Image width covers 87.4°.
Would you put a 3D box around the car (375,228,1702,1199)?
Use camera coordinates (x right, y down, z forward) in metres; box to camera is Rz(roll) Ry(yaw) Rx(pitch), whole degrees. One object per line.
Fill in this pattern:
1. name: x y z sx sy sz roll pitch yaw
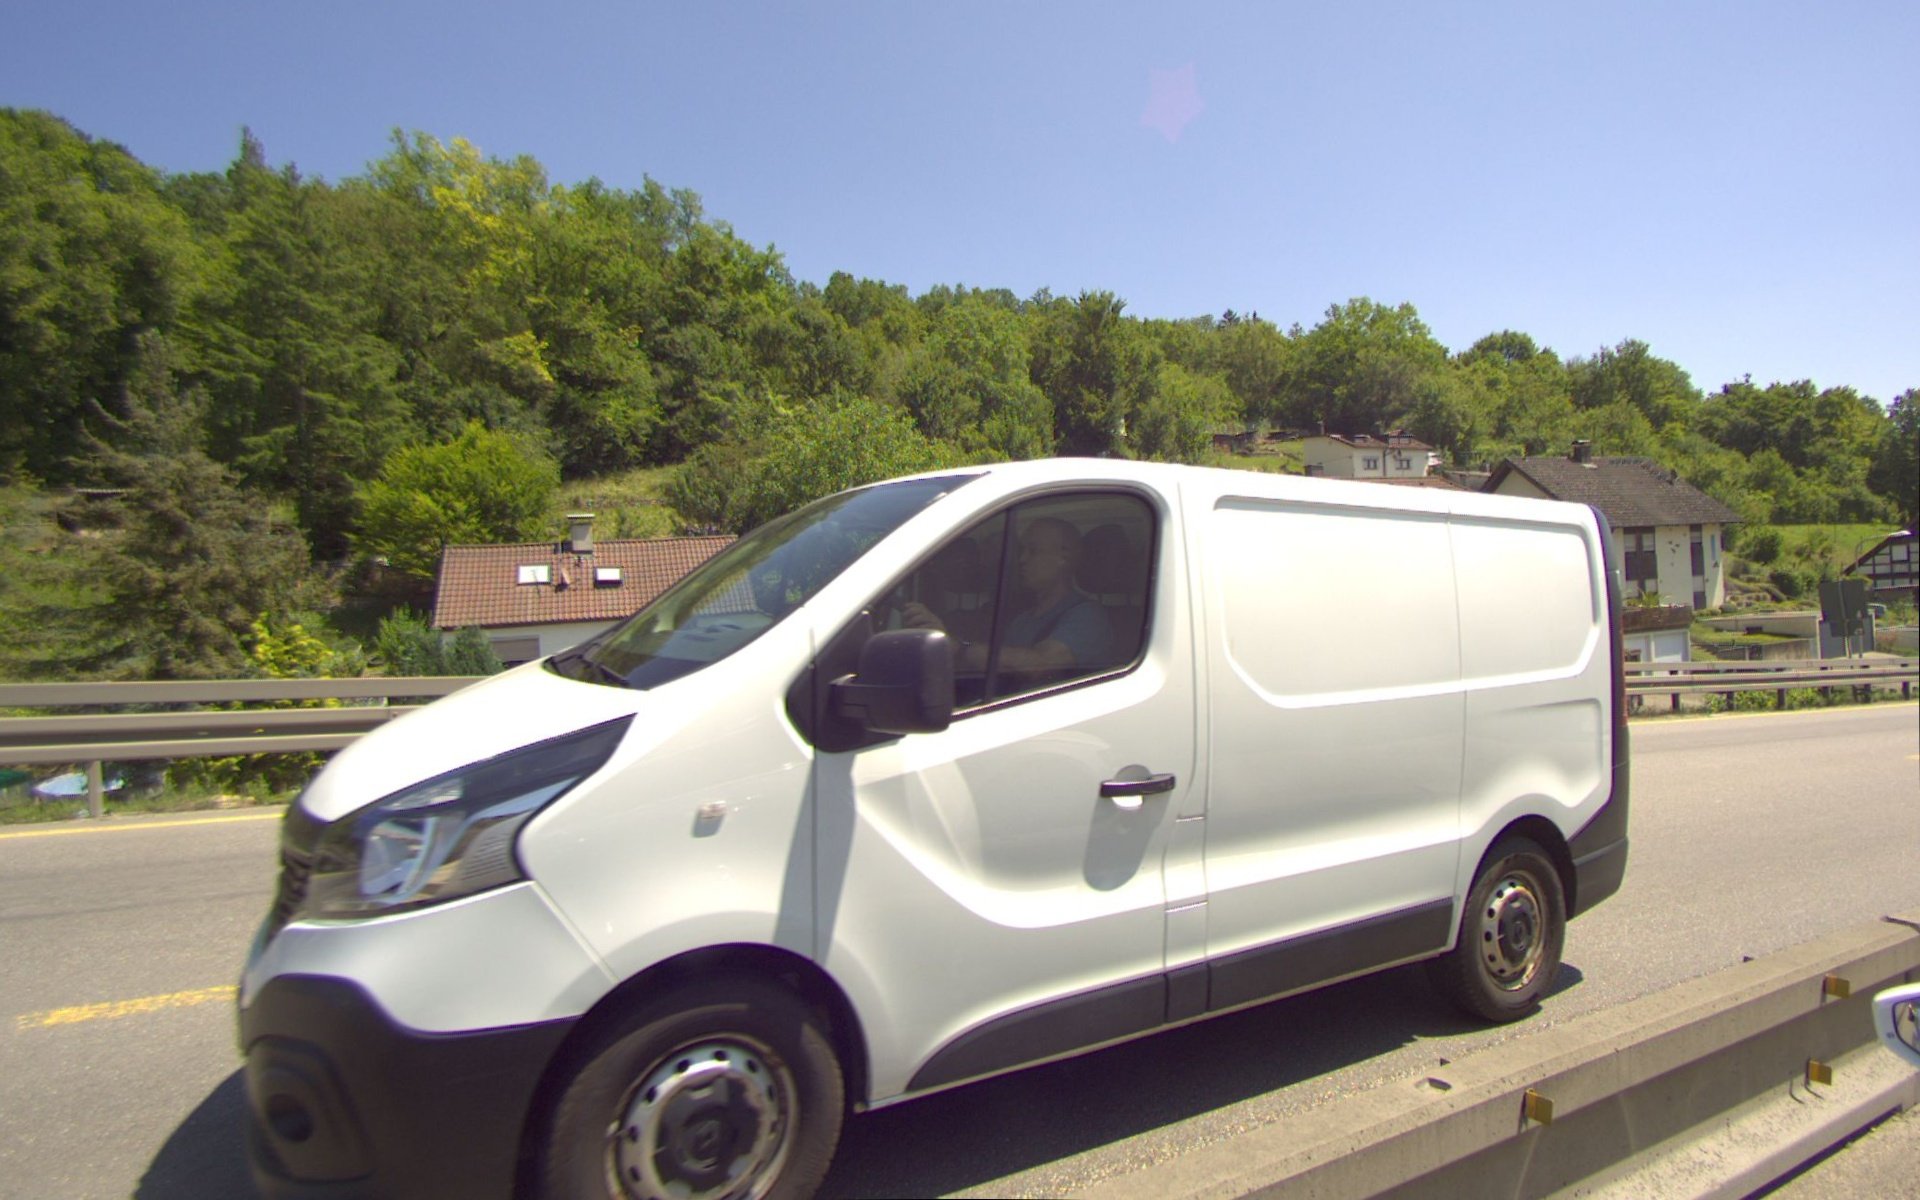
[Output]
1. car: 0.564 0.442 3.852 4.801 2.037 1.984 2 -2 -31
